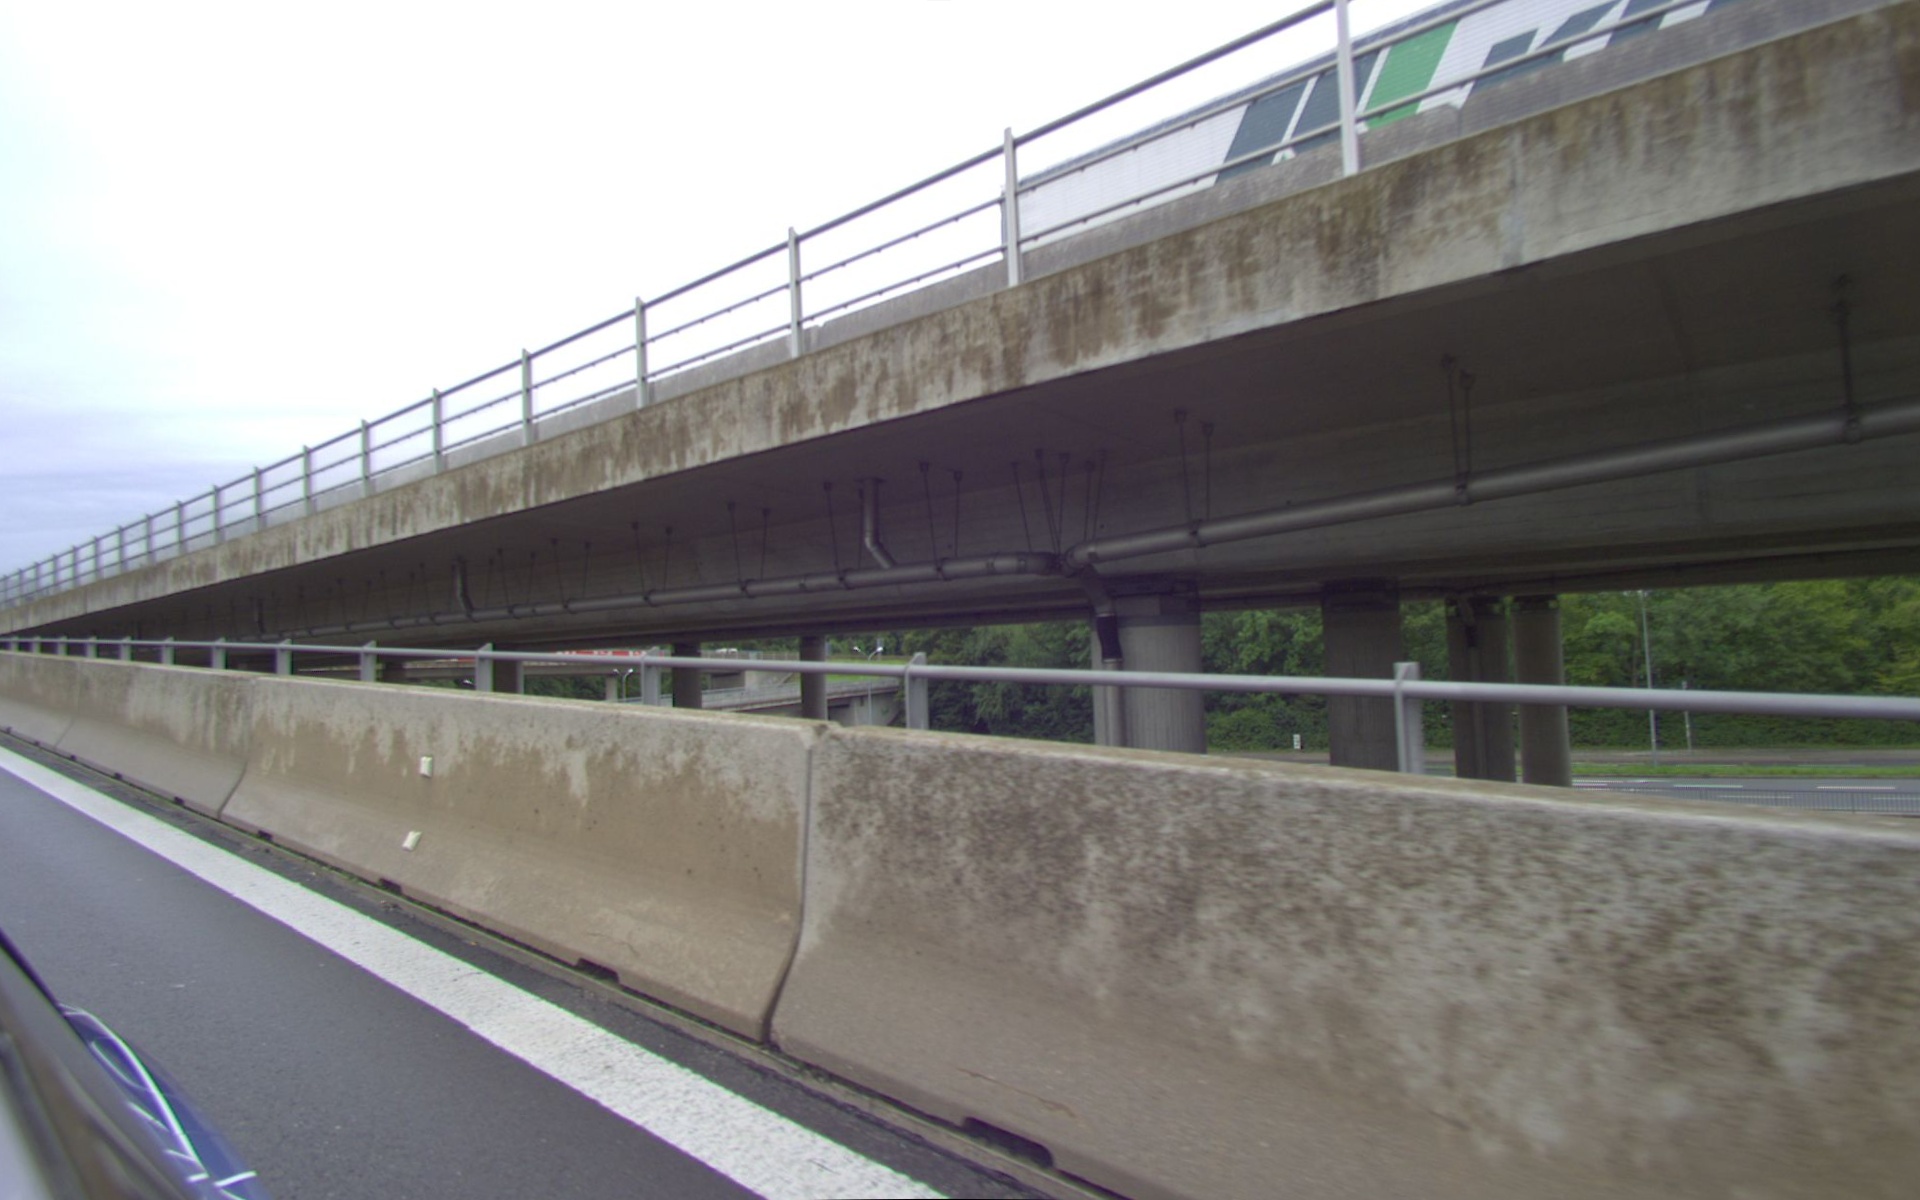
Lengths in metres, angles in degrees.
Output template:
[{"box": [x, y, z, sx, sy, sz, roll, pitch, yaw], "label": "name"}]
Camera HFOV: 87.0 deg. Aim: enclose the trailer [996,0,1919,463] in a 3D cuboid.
[{"box": [6.785, -4.212, 10.485, 14.047, 3.323, 2.631, -4, -3, 40], "label": "trailer"}]
